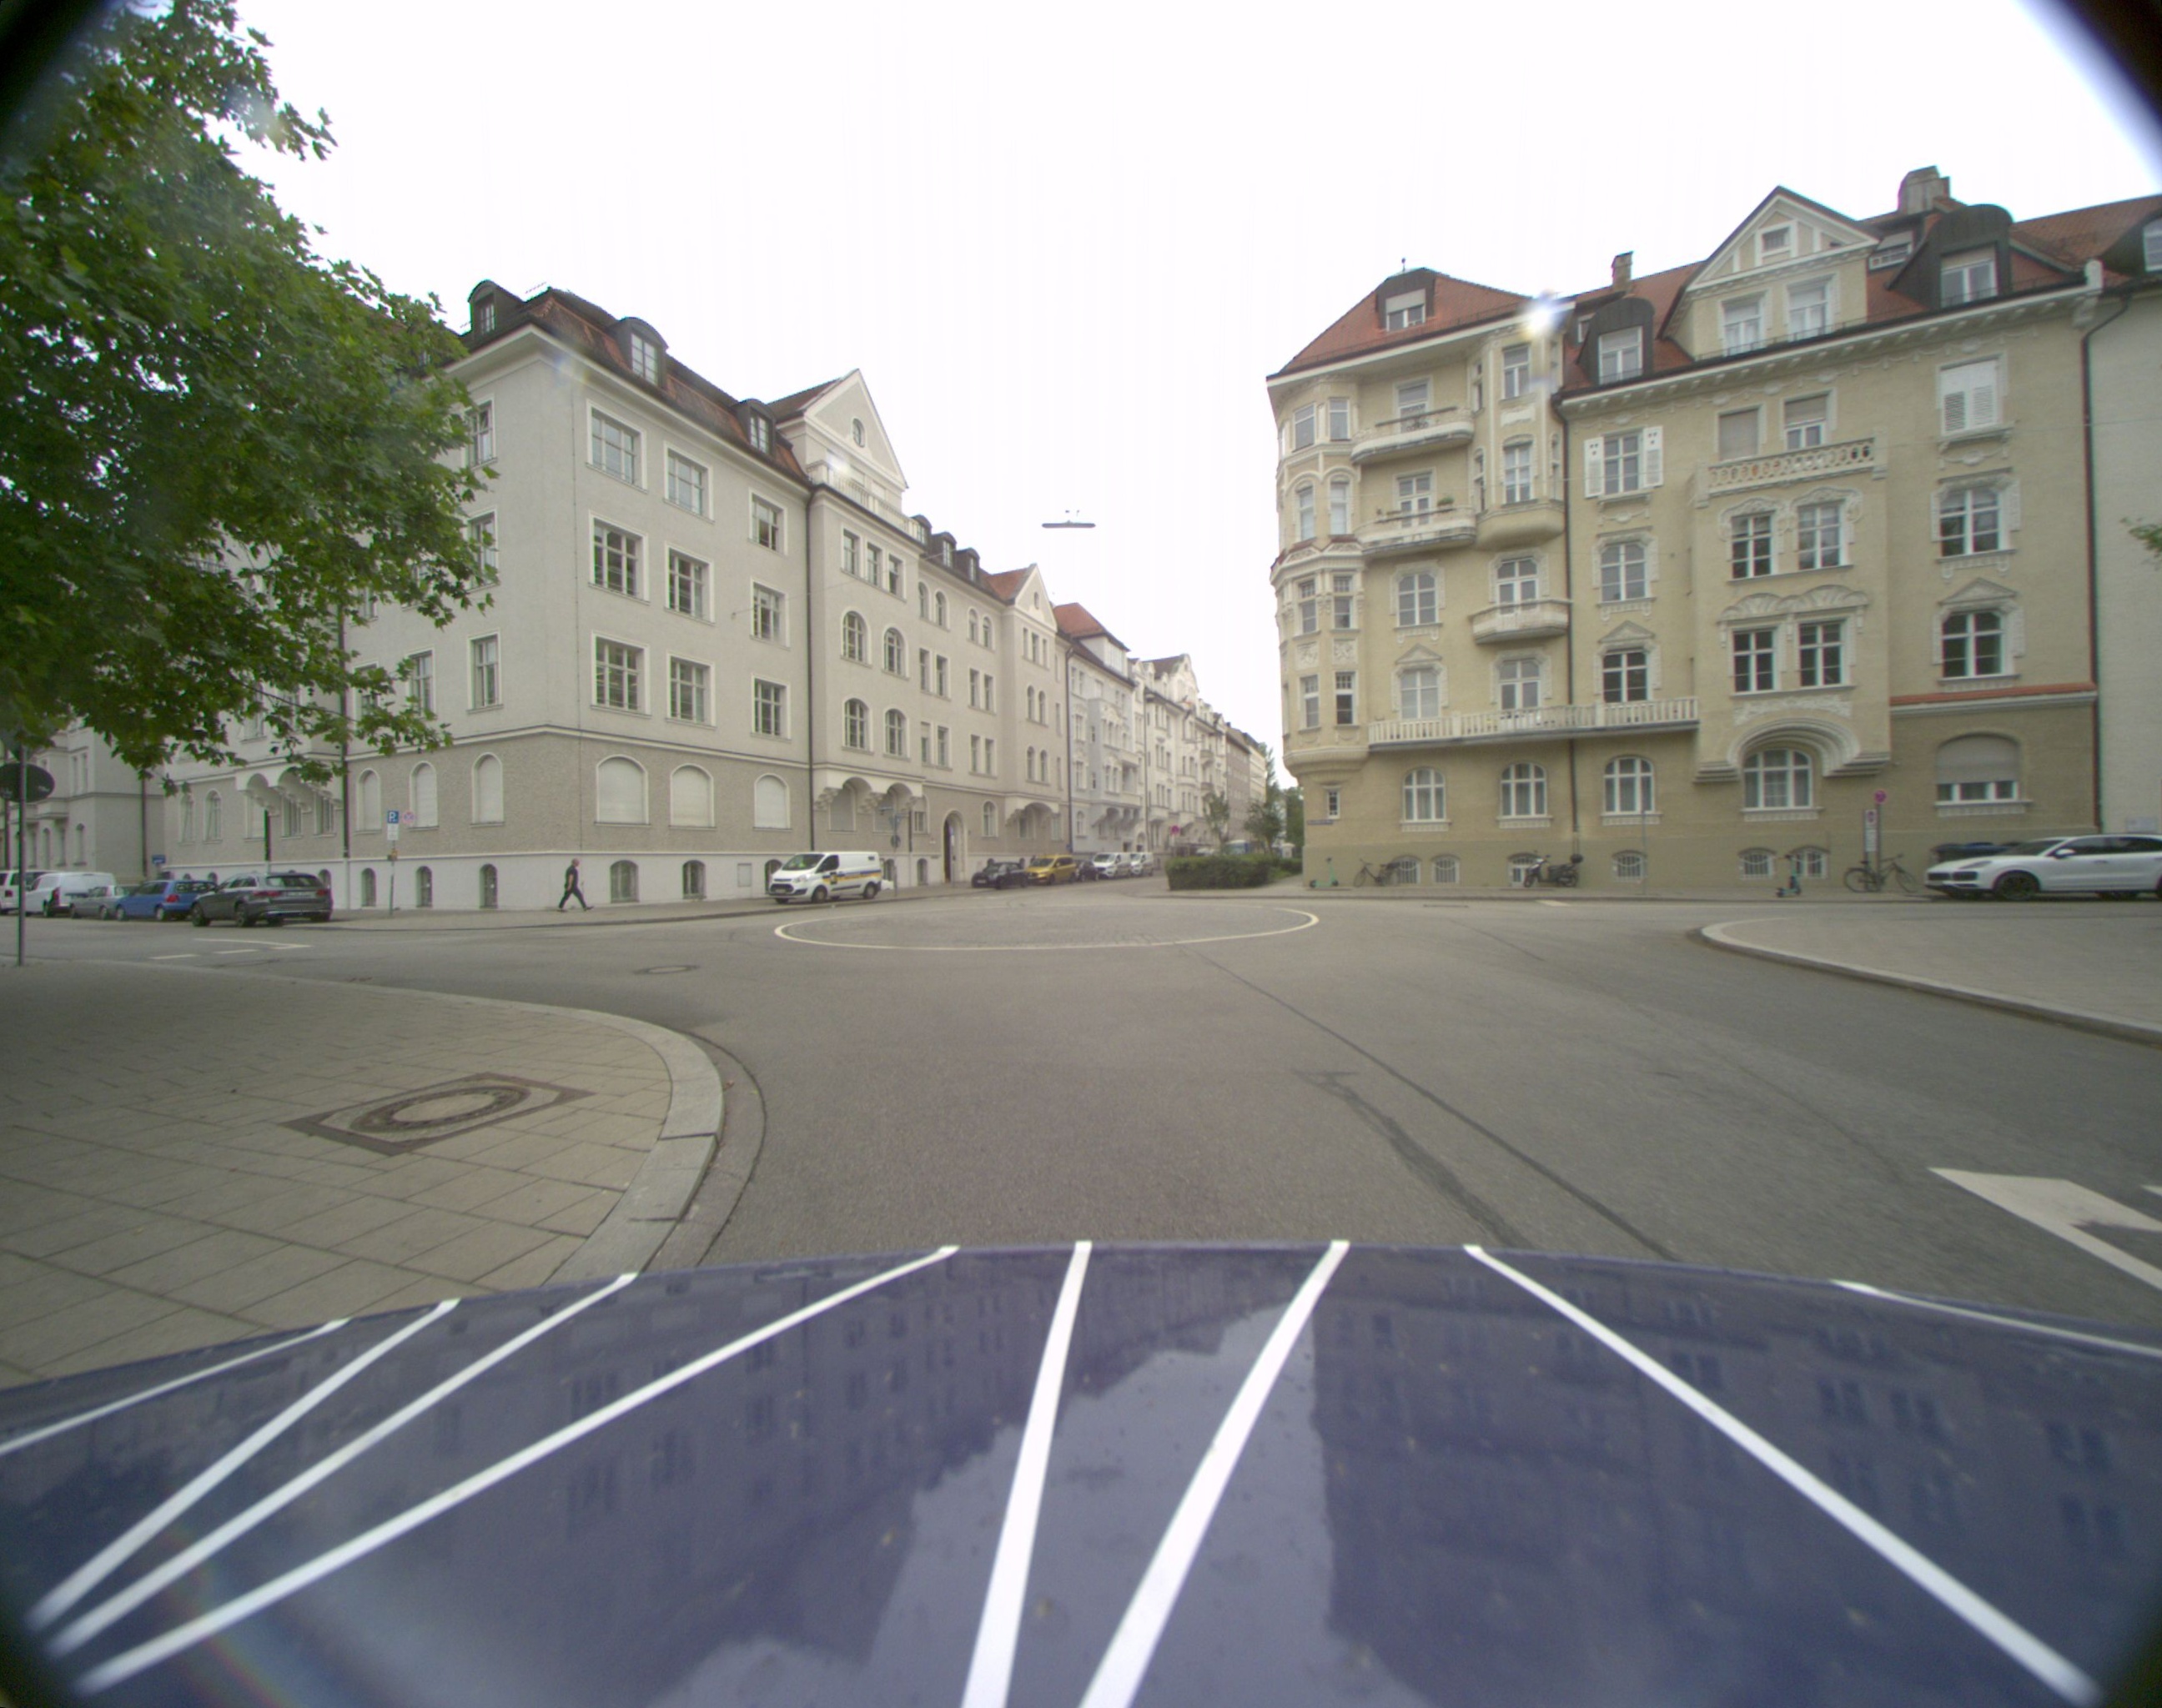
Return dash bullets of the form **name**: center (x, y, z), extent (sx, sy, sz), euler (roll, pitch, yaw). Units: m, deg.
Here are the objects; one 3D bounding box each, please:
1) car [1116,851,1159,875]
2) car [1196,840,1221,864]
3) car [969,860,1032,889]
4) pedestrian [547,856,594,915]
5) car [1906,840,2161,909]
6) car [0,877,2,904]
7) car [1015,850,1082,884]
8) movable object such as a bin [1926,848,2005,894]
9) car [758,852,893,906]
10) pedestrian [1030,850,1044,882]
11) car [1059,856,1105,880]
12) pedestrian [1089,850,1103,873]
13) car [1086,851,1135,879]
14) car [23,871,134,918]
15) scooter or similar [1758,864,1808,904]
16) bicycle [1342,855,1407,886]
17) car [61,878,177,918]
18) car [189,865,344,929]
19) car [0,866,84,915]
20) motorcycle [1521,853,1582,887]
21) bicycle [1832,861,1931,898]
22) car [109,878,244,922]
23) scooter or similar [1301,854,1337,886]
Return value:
- **car**: center (4.703, 0.704, 62.153), extent (1.995, 1.907, 4.886), euler (-1, 0, 23)
- **car**: center (14.494, -0.245, 86.082), extent (2.079, 2.673, 5.452), euler (0, 1, 17)
- **car**: center (-4.290, 1.066, 41.104), extent (1.714, 1.436, 3.834), euler (-1, 0, 24)
- **pedestrian**: center (-16.091, 0.981, 23.991), extent (0.930, 1.790, 0.998), euler (-1, 1, -16)
- **car**: center (25.254, 0.511, 19.626), extent (4.979, 1.666, 2.003), euler (-1, 0, 21)
- **car**: center (-58.830, 1.965, 39.809), extent (3.830, 1.418, 1.821), euler (-1, 0, 23)
- **car**: center (-1.893, 0.744, 46.017), extent (1.995, 1.907, 4.579), euler (-1, 0, 27)
- **movable object such as a bin**: center (27.000, 0.498, 23.229), extent (1.178, 1.363, 1.150), euler (-1, 0, 24)
- **car**: center (-9.798, 0.876, 29.726), extent (1.940, 1.911, 5.383), euler (0, 0, 23)
- **pedestrian**: center (-2.860, 0.780, 49.244), extent (0.583, 2.002, 0.729), euler (-1, 0, 26)
- **car**: center (0.117, 0.944, 51.109), extent (1.635, 1.505, 3.891), euler (-1, 0, 24)
- **pedestrian**: center (1.250, 0.601, 63.189), extent (0.852, 1.892, 0.747), euler (-1, 1, 26)
- **car**: center (2.212, 0.770, 56.184), extent (1.995, 1.907, 4.894), euler (-1, 0, 23)
- **car**: center (-40.928, 1.630, 31.030), extent (3.830, 1.773, 1.800), euler (-1, 0, 23)
- **scooter or similar**: center (20.456, 0.859, 22.143), extent (1.348, 1.102, 0.541), euler (-1, 0, -22)
- **bicycle**: center (11.489, 0.649, 29.856), extent (2.335, 1.196, 0.700), euler (-1, 0, 18)
- **car**: center (-37.443, 1.678, 29.571), extent (3.830, 1.396, 1.800), euler (-1, 0, 23)
- **car**: center (-25.162, 1.286, 23.482), extent (4.240, 1.785, 1.896), euler (-1, 0, 23)
- **car**: center (-46.511, 1.587, 33.687), extent (4.025, 2.023, 1.821), euler (-1, 0, 23)
- **motorcycle**: center (16.976, 0.571, 27.467), extent (1.742, 1.179, 0.743), euler (-1, 0, 19)
- **bicycle**: center (23.668, 0.742, 22.501), extent (1.972, 1.062, 0.654), euler (-1, 0, 14)
- **car**: center (-32.168, 1.584, 27.031), extent (4.240, 1.396, 1.896), euler (-1, 0, 23)
- **scooter or similar**: center (9.515, 0.649, 30.403), extent (1.283, 1.264, 0.459), euler (-1, 1, 4)
